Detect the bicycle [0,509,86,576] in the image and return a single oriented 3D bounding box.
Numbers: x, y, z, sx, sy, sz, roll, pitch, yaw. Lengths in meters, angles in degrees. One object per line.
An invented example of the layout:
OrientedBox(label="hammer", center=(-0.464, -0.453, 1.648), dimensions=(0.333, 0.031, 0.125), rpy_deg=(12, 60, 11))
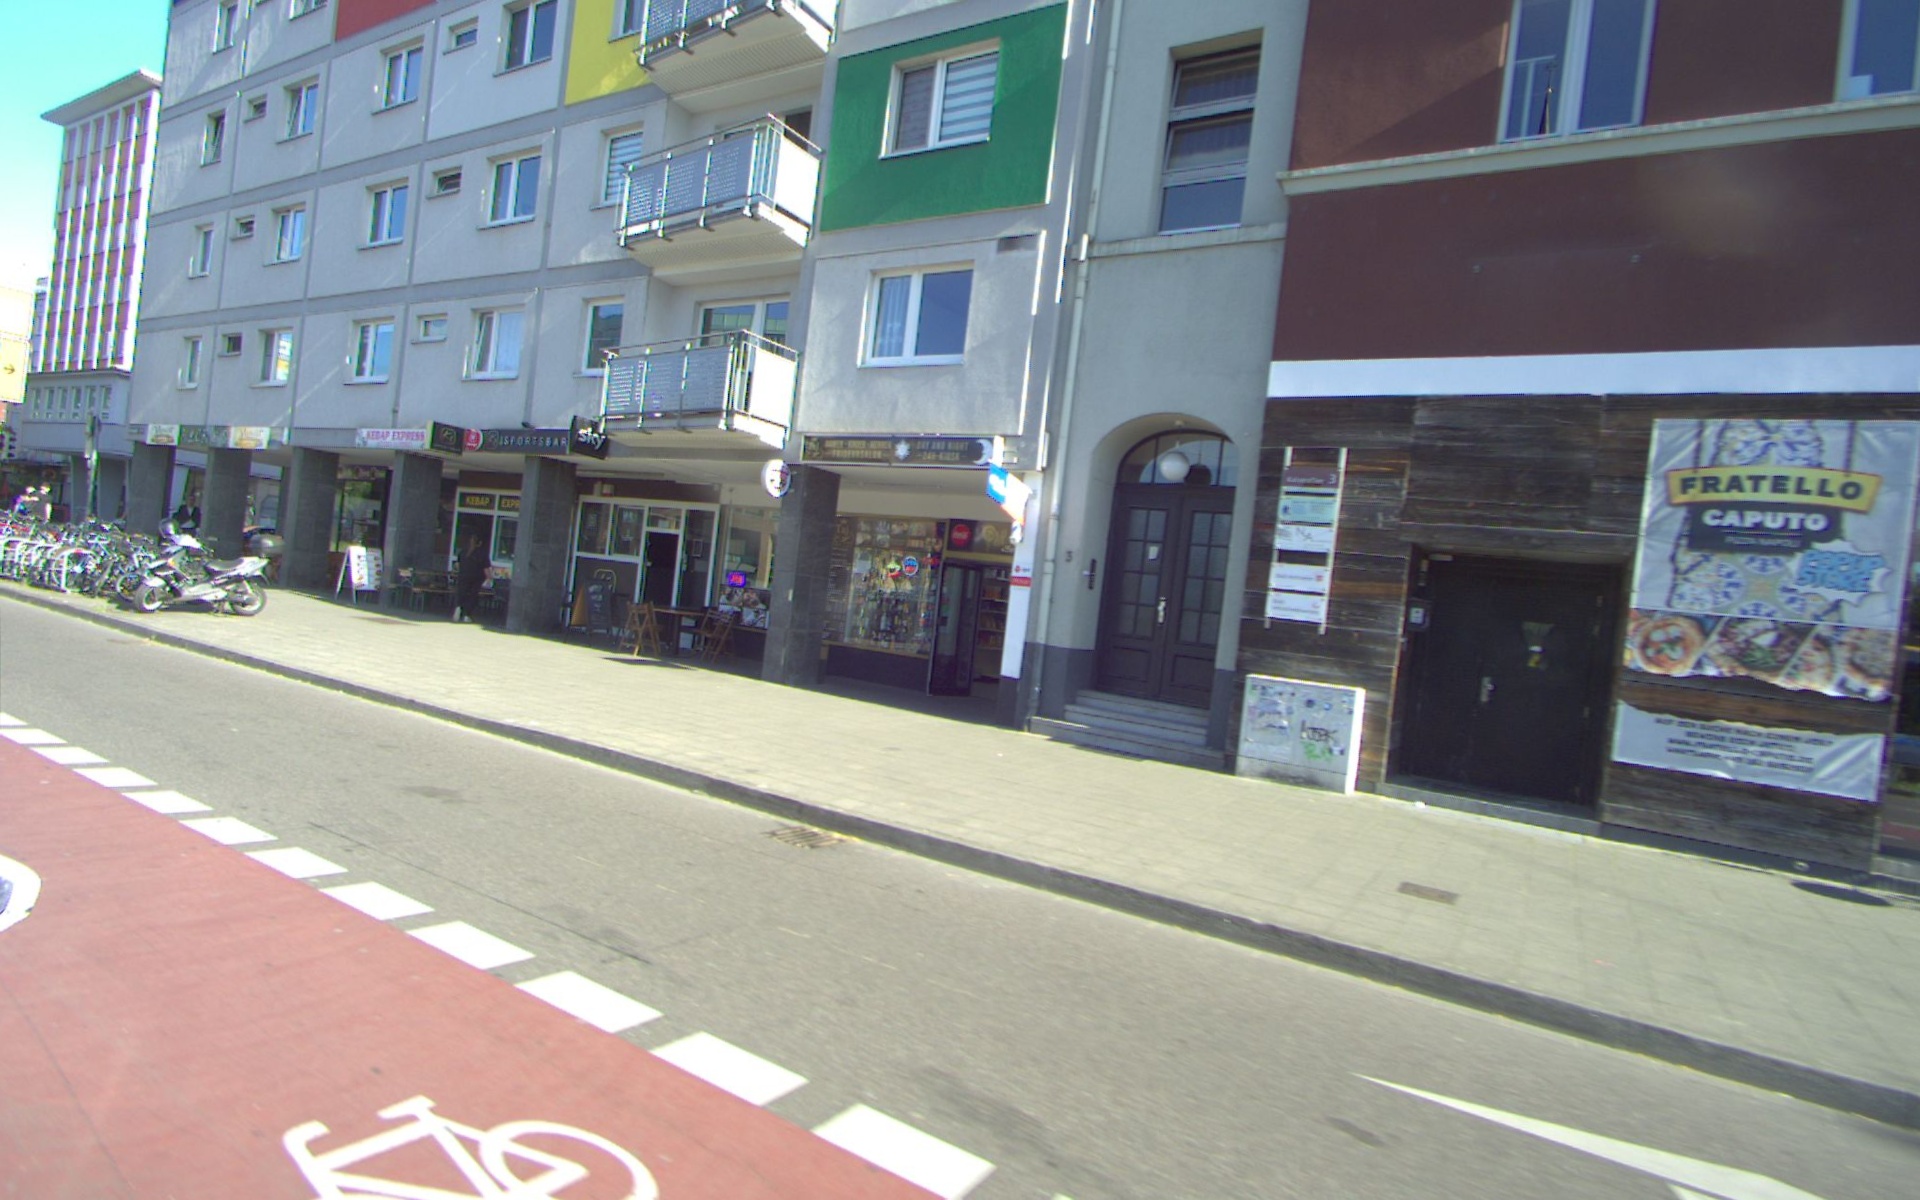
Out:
OrientedBox(label="bicycle", center=(-16.764, -1.032, 18.118), dimensions=(0.253, 1.080, 1.466), rpy_deg=(7, 0, 33))

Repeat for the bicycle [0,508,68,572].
OrientedBox(label="bicycle", center=(-17.404, -1.127, 18.462), dimensions=(0.253, 1.080, 1.466), rpy_deg=(7, 0, 33))

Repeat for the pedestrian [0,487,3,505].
OrientedBox(label="pedestrian", center=(-42.545, -4.052, 43.967), dimensions=(0.693, 1.941, 0.708), rpy_deg=(7, -1, 35))

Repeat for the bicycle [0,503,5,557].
OrientedBox(label="bicycle", center=(-19.918, -1.468, 19.856), dimensions=(0.253, 1.080, 1.466), rpy_deg=(7, 0, 33))

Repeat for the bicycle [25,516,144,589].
OrientedBox(label="bicycle", center=(-14.997, -0.792, 17.264), dimensions=(0.253, 1.080, 1.466), rpy_deg=(7, 0, 33))

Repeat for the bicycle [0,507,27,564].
OrientedBox(label="bicycle", center=(-18.989, -1.300, 19.335), dimensions=(0.253, 1.080, 1.466), rpy_deg=(7, 0, 33))

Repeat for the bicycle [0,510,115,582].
OrientedBox(label="bicycle", center=(-15.764, -0.924, 17.579), dimensions=(0.253, 1.080, 1.466), rpy_deg=(7, 0, 33))

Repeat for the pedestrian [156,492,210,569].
OrientedBox(label="pedestrian", center=(-22.042, -1.963, 28.537), dimensions=(0.877, 2.037, 0.843), rpy_deg=(6, -1, 41))

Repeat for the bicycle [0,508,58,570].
OrientedBox(label="bicycle", center=(-17.721, -1.162, 18.610), dimensions=(0.253, 1.080, 1.466), rpy_deg=(7, 0, 33))

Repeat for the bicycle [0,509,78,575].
OrientedBox(label="bicycle", center=(-17.084, -1.066, 18.322), dimensions=(0.253, 1.080, 1.466), rpy_deg=(7, 0, 33))

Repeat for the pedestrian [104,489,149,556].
OrientedBox(label="pedestrian", center=(-27.195, -2.531, 32.826), dimensions=(0.875, 2.037, 0.901), rpy_deg=(9, -2, -44))

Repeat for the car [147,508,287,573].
OrientedBox(label="car", center=(-32.381, -2.557, 43.989), dimensions=(1.940, 2.036, 4.370), rpy_deg=(7, -2, 33))

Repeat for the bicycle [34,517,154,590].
OrientedBox(label="bicycle", center=(-14.698, -0.775, 17.112), dimensions=(0.253, 1.080, 1.466), rpy_deg=(7, 0, 33))

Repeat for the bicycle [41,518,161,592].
OrientedBox(label="bicycle", center=(-14.406, -0.735, 16.913), dimensions=(0.253, 1.080, 1.466), rpy_deg=(7, 0, 33))

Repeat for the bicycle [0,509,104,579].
OrientedBox(label="bicycle", center=(-16.130, -0.970, 17.761), dimensions=(0.253, 1.080, 1.466), rpy_deg=(7, 0, 33))

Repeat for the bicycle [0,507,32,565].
OrientedBox(label="bicycle", center=(-18.724, -1.276, 19.161), dimensions=(0.253, 1.080, 1.466), rpy_deg=(7, 0, 33))

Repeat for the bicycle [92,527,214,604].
OrientedBox(label="bicycle", center=(-12.946, -0.536, 16.184), dimensions=(0.253, 1.080, 1.466), rpy_deg=(7, 0, 33))

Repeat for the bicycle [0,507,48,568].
OrientedBox(label="bicycle", center=(-18.079, -1.217, 18.802), dimensions=(0.253, 1.080, 1.466), rpy_deg=(7, 0, 33))

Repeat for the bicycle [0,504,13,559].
OrientedBox(label="bicycle", center=(-19.578, -1.424, 19.683), dimensions=(0.253, 1.080, 1.466), rpy_deg=(7, 0, 33))

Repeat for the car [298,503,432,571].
OrientedBox(label="car", center=(-27.022, -2.826, 45.831), dimensions=(2.153, 2.237, 4.601), rpy_deg=(7, -2, 33))

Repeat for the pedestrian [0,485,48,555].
OrientedBox(label="pedestrian", center=(-27.197, -2.305, 29.218), dimensions=(0.823, 1.877, 0.905), rpy_deg=(9, -2, -44))

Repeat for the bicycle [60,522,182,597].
OrientedBox(label="bicycle", center=(-13.743, -0.650, 16.518), dimensions=(0.253, 1.080, 1.466), rpy_deg=(7, 0, 33))

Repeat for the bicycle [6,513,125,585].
OrientedBox(label="bicycle", center=(-15.424, -0.865, 17.388), dimensions=(0.253, 1.080, 1.466), rpy_deg=(7, 0, 33))

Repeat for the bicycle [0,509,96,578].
OrientedBox(label="bicycle", center=(-16.427, -1.003, 17.936), dimensions=(0.253, 1.080, 1.466), rpy_deg=(7, 0, 33))

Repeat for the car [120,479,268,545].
OrientedBox(label="car", center=(-34.643, -3.963, 45.641), dimensions=(2.222, 2.036, 4.738), rpy_deg=(7, -3, 33))

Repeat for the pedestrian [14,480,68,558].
OrientedBox(label="pedestrian", center=(-25.654, -2.264, 28.076), dimensions=(0.857, 2.037, 0.791), rpy_deg=(7, -1, 38))

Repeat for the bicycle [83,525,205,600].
OrientedBox(label="bicycle", center=(-13.276, -0.591, 16.407), dimensions=(0.253, 1.080, 1.466), rpy_deg=(7, 0, 33))

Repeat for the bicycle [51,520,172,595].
OrientedBox(label="bicycle", center=(-14.086, -0.689, 16.745), dimensions=(0.253, 1.080, 1.466), rpy_deg=(7, 0, 33))

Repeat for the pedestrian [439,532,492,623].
OrientedBox(label="pedestrian", center=(-9.115, -0.418, 18.534), dimensions=(0.565, 1.603, 0.555), rpy_deg=(7, 2, 32))

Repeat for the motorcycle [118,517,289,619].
OrientedBox(label="motorcycle", center=(-11.209, -0.448, 14.973), dimensions=(0.642, 1.317, 1.855), rpy_deg=(7, 1, 34))

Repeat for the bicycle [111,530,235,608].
OrientedBox(label="bicycle", center=(-12.315, -0.465, 15.787), dimensions=(0.253, 1.080, 1.466), rpy_deg=(7, 0, 33))

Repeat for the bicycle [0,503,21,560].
OrientedBox(label="bicycle", center=(-19.281, -1.401, 19.534), dimensions=(0.253, 1.080, 1.466), rpy_deg=(7, 0, 33))

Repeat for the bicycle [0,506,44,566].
OrientedBox(label="bicycle", center=(-18.331, -1.256, 18.980), dimensions=(0.253, 1.080, 1.466), rpy_deg=(7, 0, 33))

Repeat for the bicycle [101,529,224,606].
OrientedBox(label="bicycle", center=(-12.630, -0.495, 15.971), dimensions=(0.253, 1.080, 1.466), rpy_deg=(7, 0, 33))
